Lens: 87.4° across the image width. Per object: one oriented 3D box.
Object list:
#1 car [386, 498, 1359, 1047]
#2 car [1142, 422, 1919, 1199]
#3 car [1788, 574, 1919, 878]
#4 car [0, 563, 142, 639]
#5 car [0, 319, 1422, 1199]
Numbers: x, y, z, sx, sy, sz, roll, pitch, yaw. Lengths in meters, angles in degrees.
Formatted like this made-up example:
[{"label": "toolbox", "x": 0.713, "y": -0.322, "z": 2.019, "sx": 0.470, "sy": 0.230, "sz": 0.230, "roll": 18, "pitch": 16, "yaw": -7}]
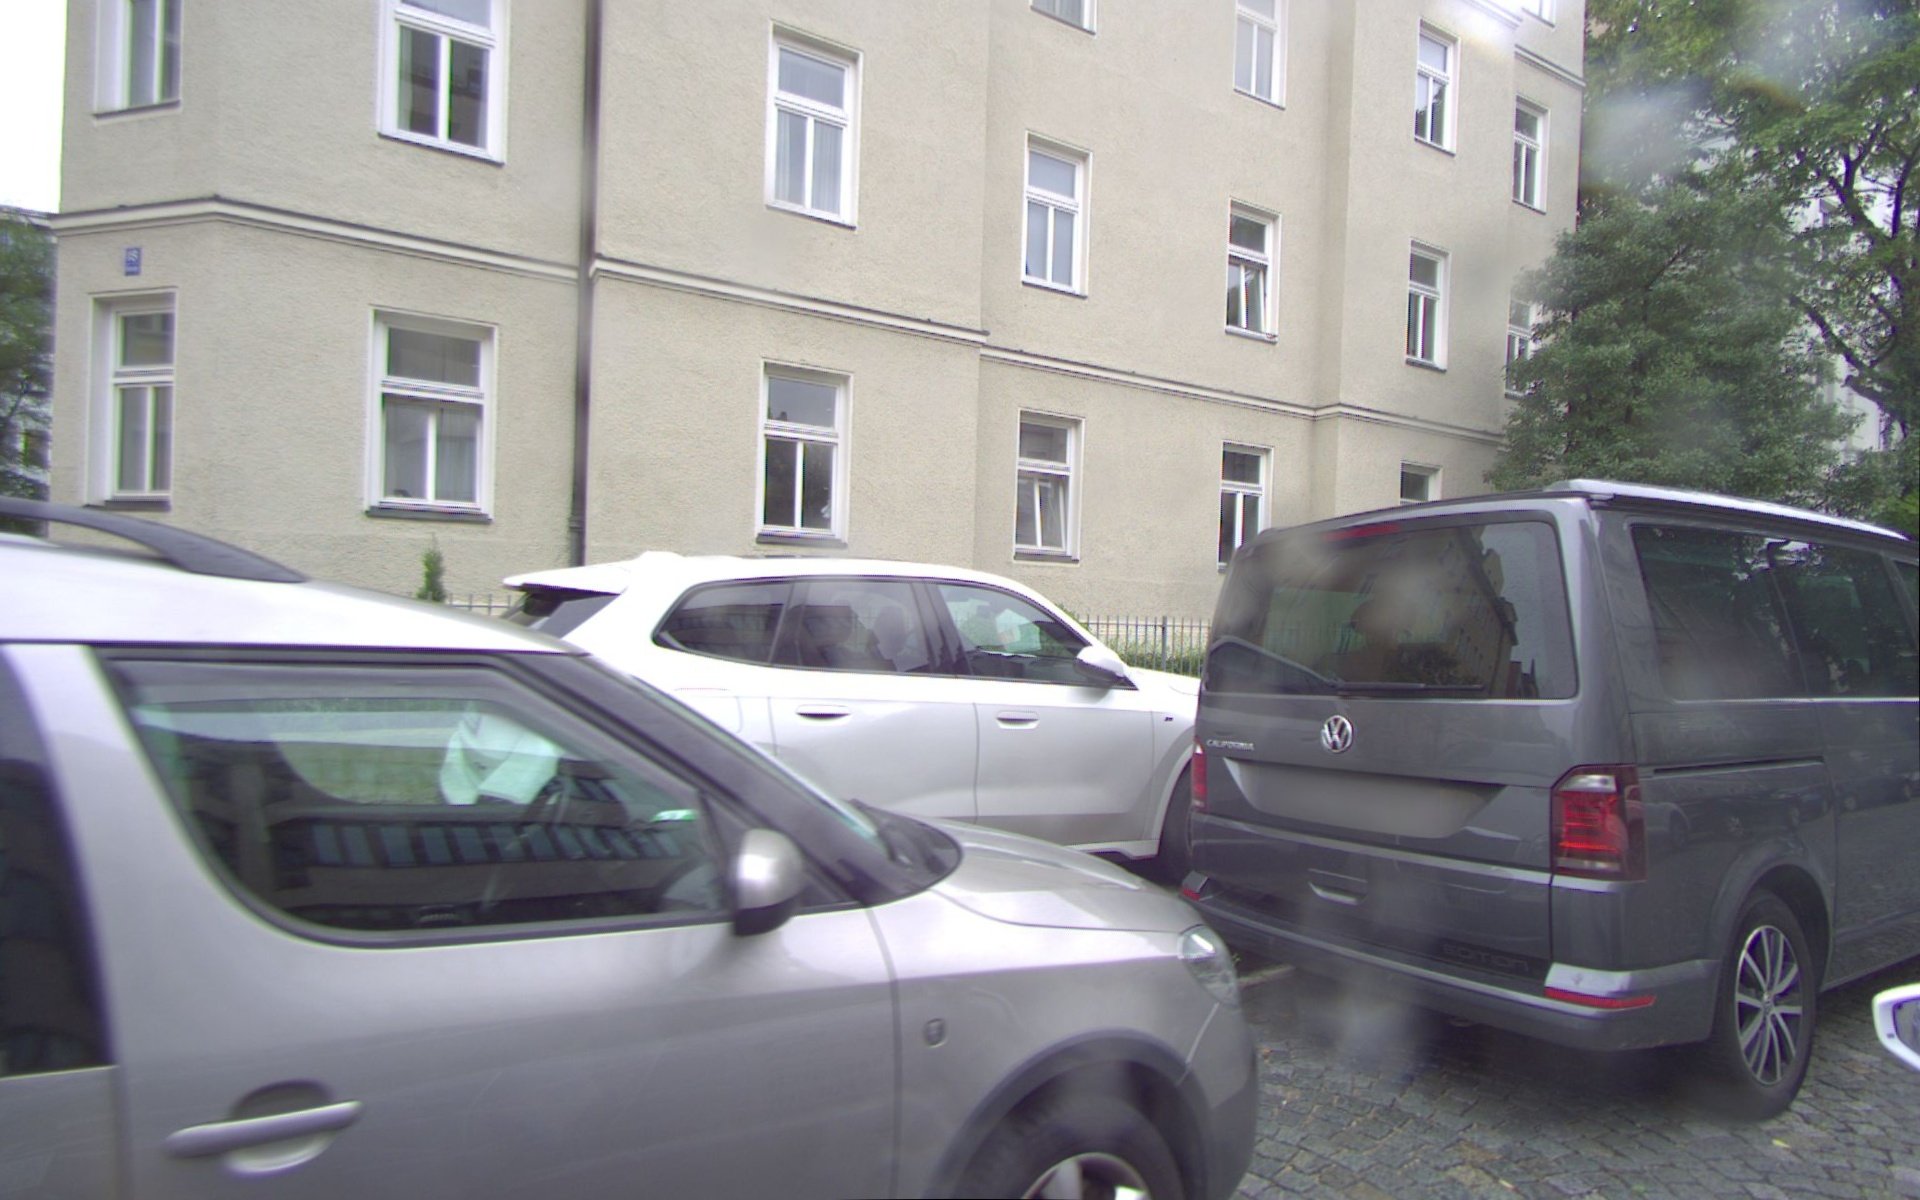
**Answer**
[{"label": "car", "x": -0.294, "y": 0.569, "z": 5.219, "sx": 4.605, "sy": 1.758, "sz": 1.934, "roll": 2, "pitch": 3, "yaw": -31}, {"label": "car", "x": 3.253, "y": 0.626, "z": 4.532, "sx": 4.773, "sy": 1.942, "sz": 1.864, "roll": 2, "pitch": -2, "yaw": -31}, {"label": "car", "x": 8.504, "y": 0.872, "z": 7.506, "sx": 5.119, "sy": 1.942, "sz": 1.983, "roll": 2, "pitch": -4, "yaw": -31}, {"label": "car", "x": -18.692, "y": 0.025, "z": 21.023, "sx": 1.727, "sy": 1.407, "sz": 3.960, "roll": 3, "pitch": -1, "yaw": -29}, {"label": "car", "x": -1.203, "y": 0.620, "z": 2.016, "sx": 4.356, "sy": 1.757, "sz": 1.855, "roll": 2, "pitch": -3, "yaw": -33}]
